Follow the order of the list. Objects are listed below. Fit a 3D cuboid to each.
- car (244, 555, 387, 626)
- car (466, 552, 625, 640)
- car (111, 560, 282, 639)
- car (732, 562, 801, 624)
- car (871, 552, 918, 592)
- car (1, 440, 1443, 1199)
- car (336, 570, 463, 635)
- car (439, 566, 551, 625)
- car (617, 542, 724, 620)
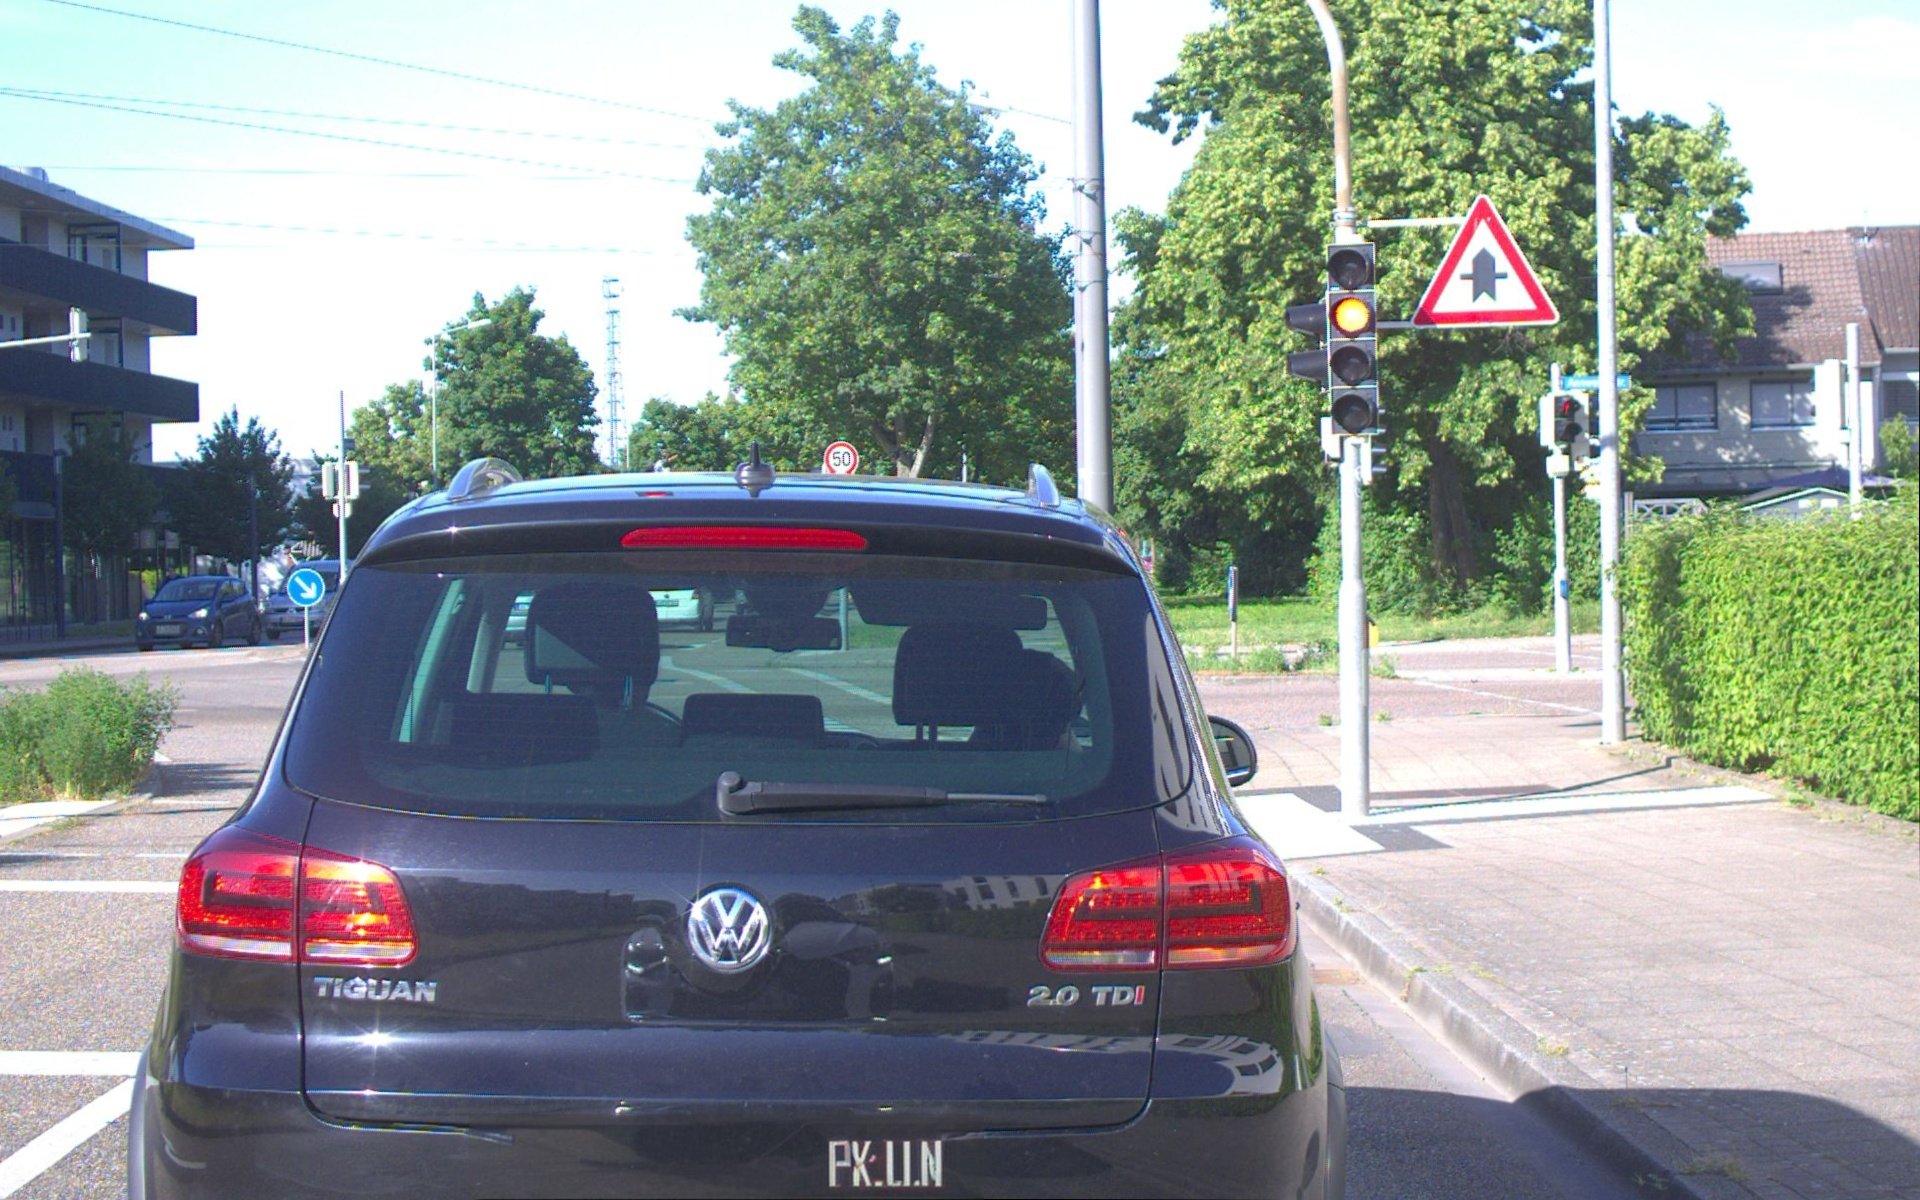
[{"bbox_3d":[-14.835,-0.229,79.334,1.994,1.569,4.338,1,1,7],"label":"car"},{"bbox_3d":[-7.356,-0.097,61.364,1.864,1.480,4.109,-1,1,7],"label":"car"},{"bbox_3d":[-15.816,-0.023,71.472,1.994,1.569,4.337,1,1,9],"label":"car"},{"bbox_3d":[-5.898,-0.216,105.007,1.993,1.830,4.000,1,1,-2],"label":"car"},{"bbox_3d":[-2.888,-1.226,150.850,1.993,1.678,4.000,1,1,-2],"label":"car"},{"bbox_3d":[-0.337,0.599,6.491,1.869,1.632,4.000,1,1,-1],"label":"car"},{"bbox_3d":[-13.945,0.039,85.753,1.994,1.569,4.338,1,1,7],"label":"car"},{"bbox_3d":[-12.719,-0.137,94.358,1.994,1.569,4.338,1,1,7],"label":"car"},{"bbox_3d":[-6.591,-0.460,78.529,1.864,1.714,3.686,-1,1,4],"label":"car"}]
